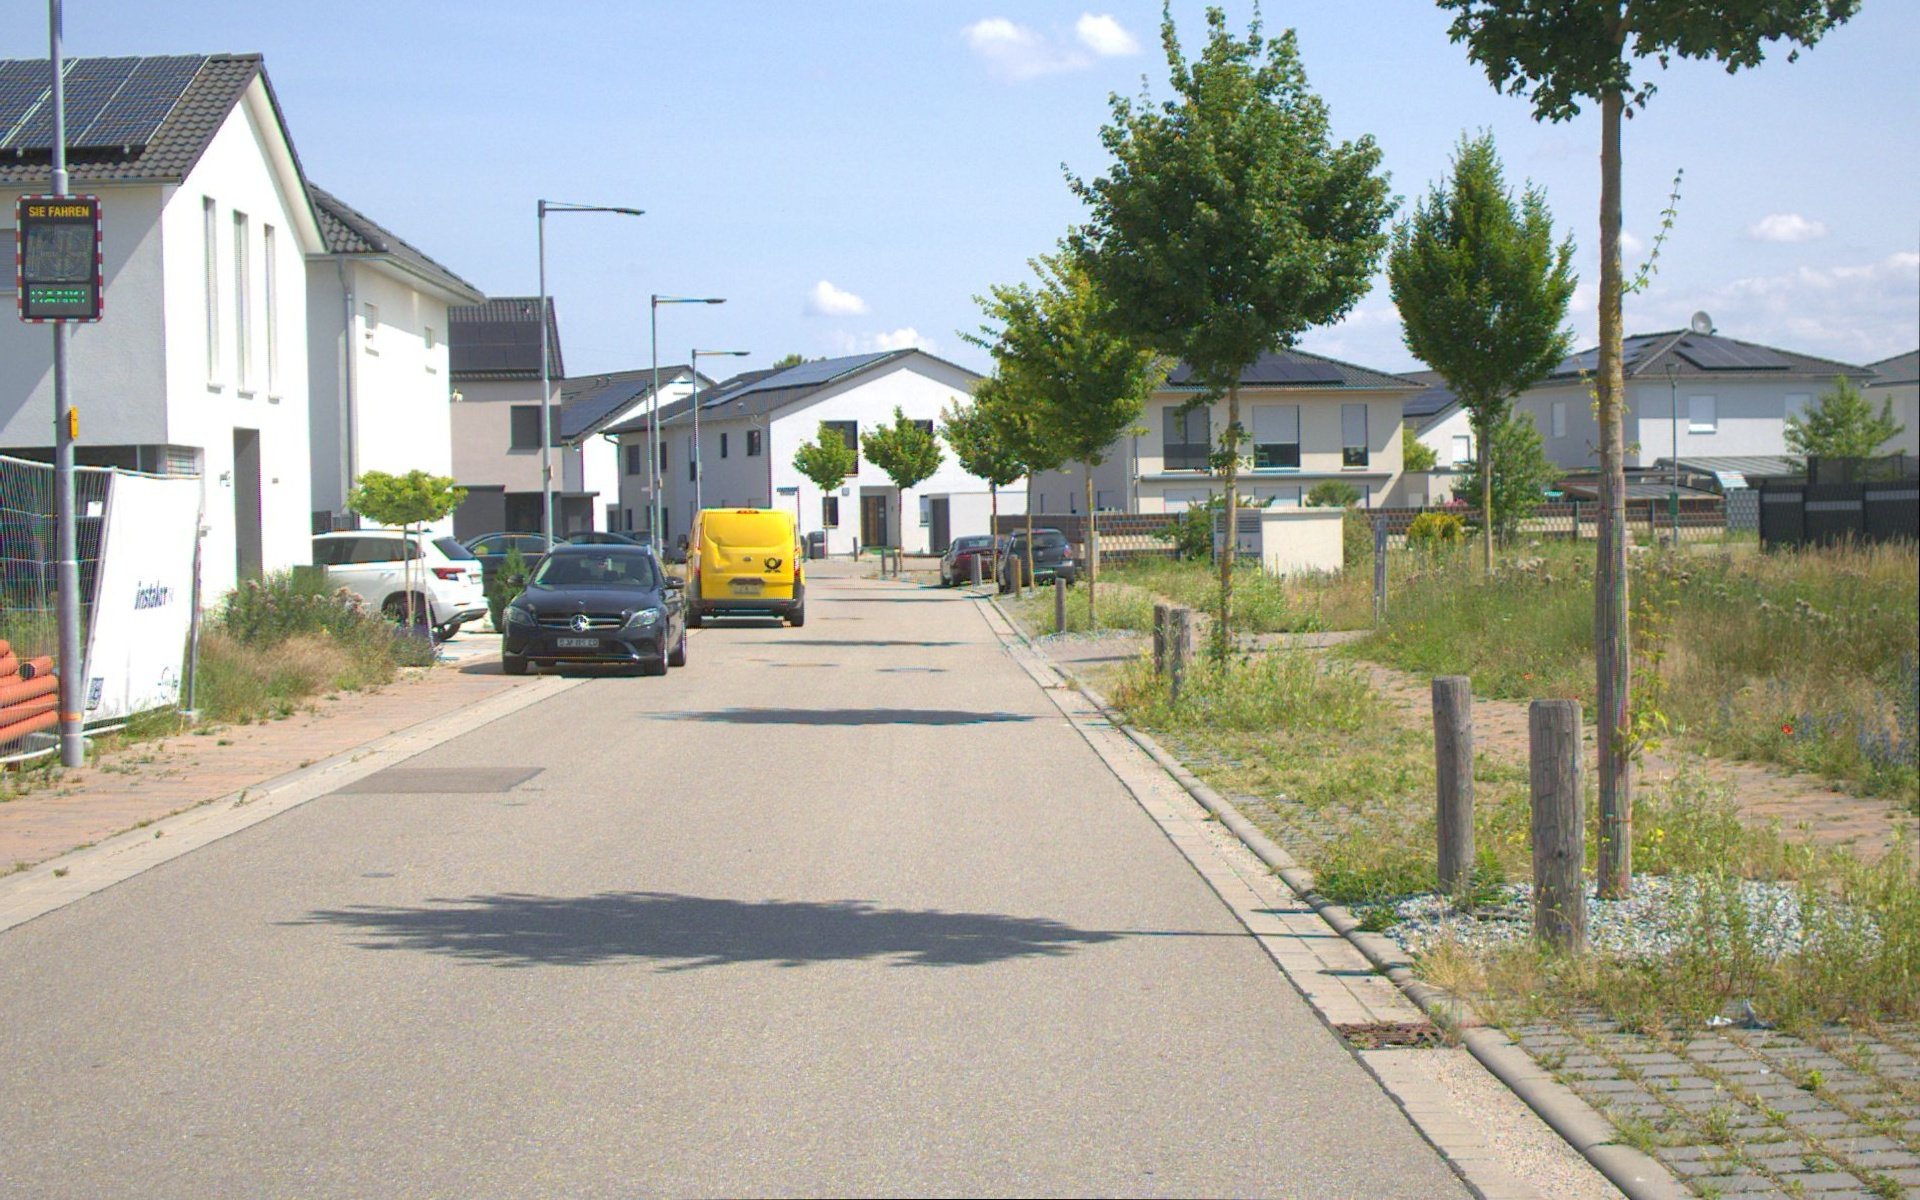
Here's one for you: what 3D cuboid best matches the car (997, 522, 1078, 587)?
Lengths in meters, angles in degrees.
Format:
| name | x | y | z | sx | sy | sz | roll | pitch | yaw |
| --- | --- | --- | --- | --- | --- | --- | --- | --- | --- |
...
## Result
| name | x | y | z | sx | sy | sz | roll | pitch | yaw |
| --- | --- | --- | --- | --- | --- | --- | --- | --- | --- |
| car | 1.770 | -1.041 | 79.254 | 1.639 | 1.398 | 3.811 | -1 | 0 | -2 |

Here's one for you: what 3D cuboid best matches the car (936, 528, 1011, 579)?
| name | x | y | z | sx | sy | sz | roll | pitch | yaw |
| --- | --- | --- | --- | --- | --- | --- | --- | --- | --- |
| car | 0.366 | -1.301 | 97.865 | 1.627 | 1.318 | 3.834 | -1 | -1 | -7 |

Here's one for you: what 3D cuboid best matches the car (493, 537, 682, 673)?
| name | x | y | z | sx | sy | sz | roll | pitch | yaw |
| --- | --- | --- | --- | --- | --- | --- | --- | --- | --- |
| car | -4.171 | 0.015 | 39.045 | 1.745 | 1.400 | 4.160 | 1 | 1 | -1 |

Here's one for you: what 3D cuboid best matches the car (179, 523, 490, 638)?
| name | x | y | z | sx | sy | sz | roll | pitch | yaw |
| --- | --- | --- | --- | --- | --- | --- | --- | --- | --- |
| car | -8.979 | -0.301 | 49.518 | 4.069 | 1.576 | 1.784 | 0 | 2 | 5 |

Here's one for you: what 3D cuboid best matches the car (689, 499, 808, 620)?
| name | x | y | z | sx | sy | sz | roll | pitch | yaw |
| --- | --- | --- | --- | --- | --- | --- | --- | --- | --- |
| car | -3.675 | -0.686 | 59.170 | 1.941 | 1.975 | 4.218 | -1 | 0 | -4 |
